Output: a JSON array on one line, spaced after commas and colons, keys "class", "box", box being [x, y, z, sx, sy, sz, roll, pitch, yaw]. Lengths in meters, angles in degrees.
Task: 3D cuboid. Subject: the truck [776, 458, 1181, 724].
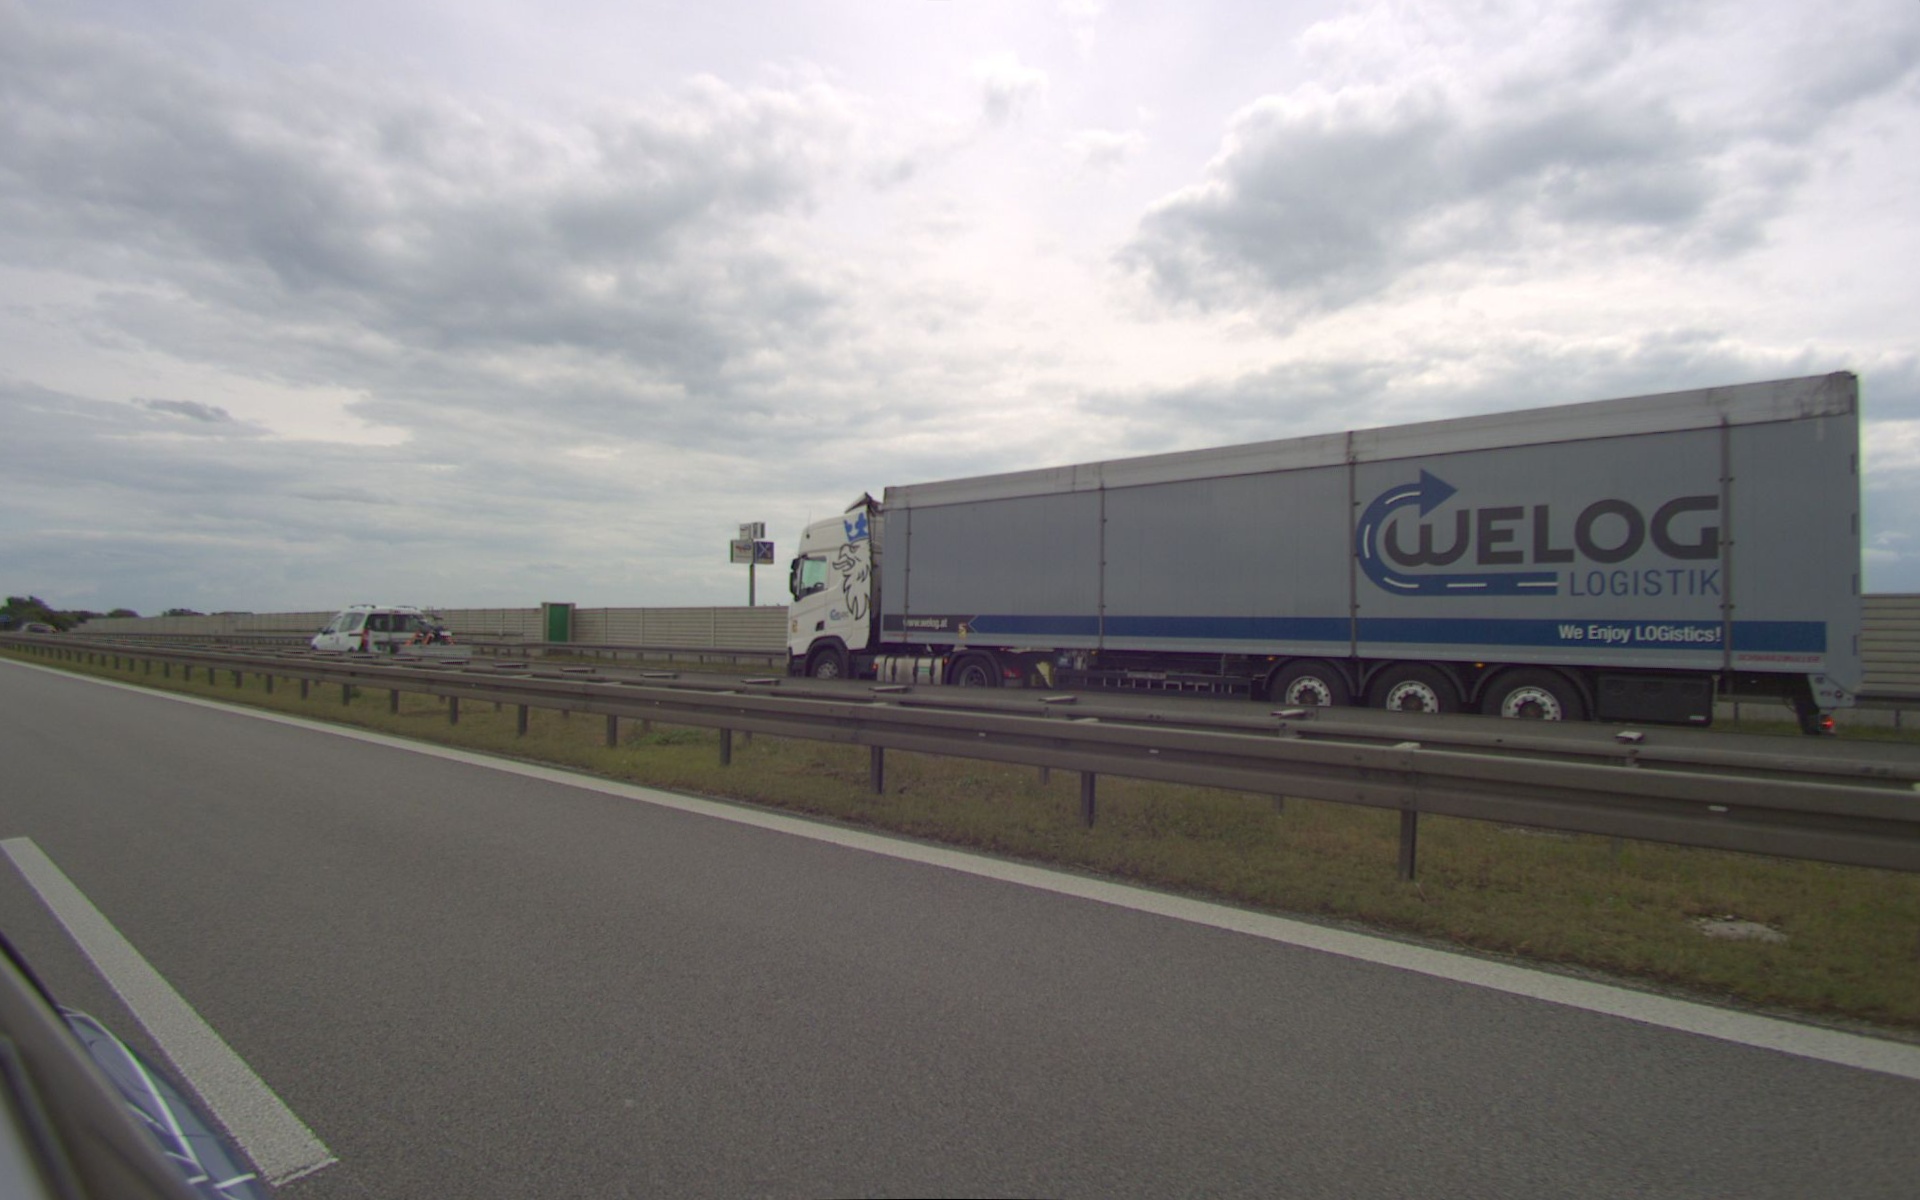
[{"class": "truck", "box": [0.116, -0.030, 18.966, 7.320, 4.045, 3.076, -1, -3, 41]}]

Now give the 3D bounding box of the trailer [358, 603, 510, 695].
[{"class": "trailer", "box": [-12.499, 1.092, 23.964, 3.861, 1.860, 1.796, -1, 4, 41]}]

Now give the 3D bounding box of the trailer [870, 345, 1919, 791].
[{"class": "trailer", "box": [4.697, -0.145, 15.003, 14.016, 4.107, 3.145, -1, -3, 41]}]

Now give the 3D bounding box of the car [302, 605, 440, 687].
[{"class": "car", "box": [-15.547, 1.140, 26.640, 4.179, 1.860, 1.796, -1, 4, 41]}]

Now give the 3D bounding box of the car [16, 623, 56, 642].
[{"class": "car", "box": [-75.372, 2.663, 82.499, 4.680, 1.384, 1.777, -1, -7, 41]}]
